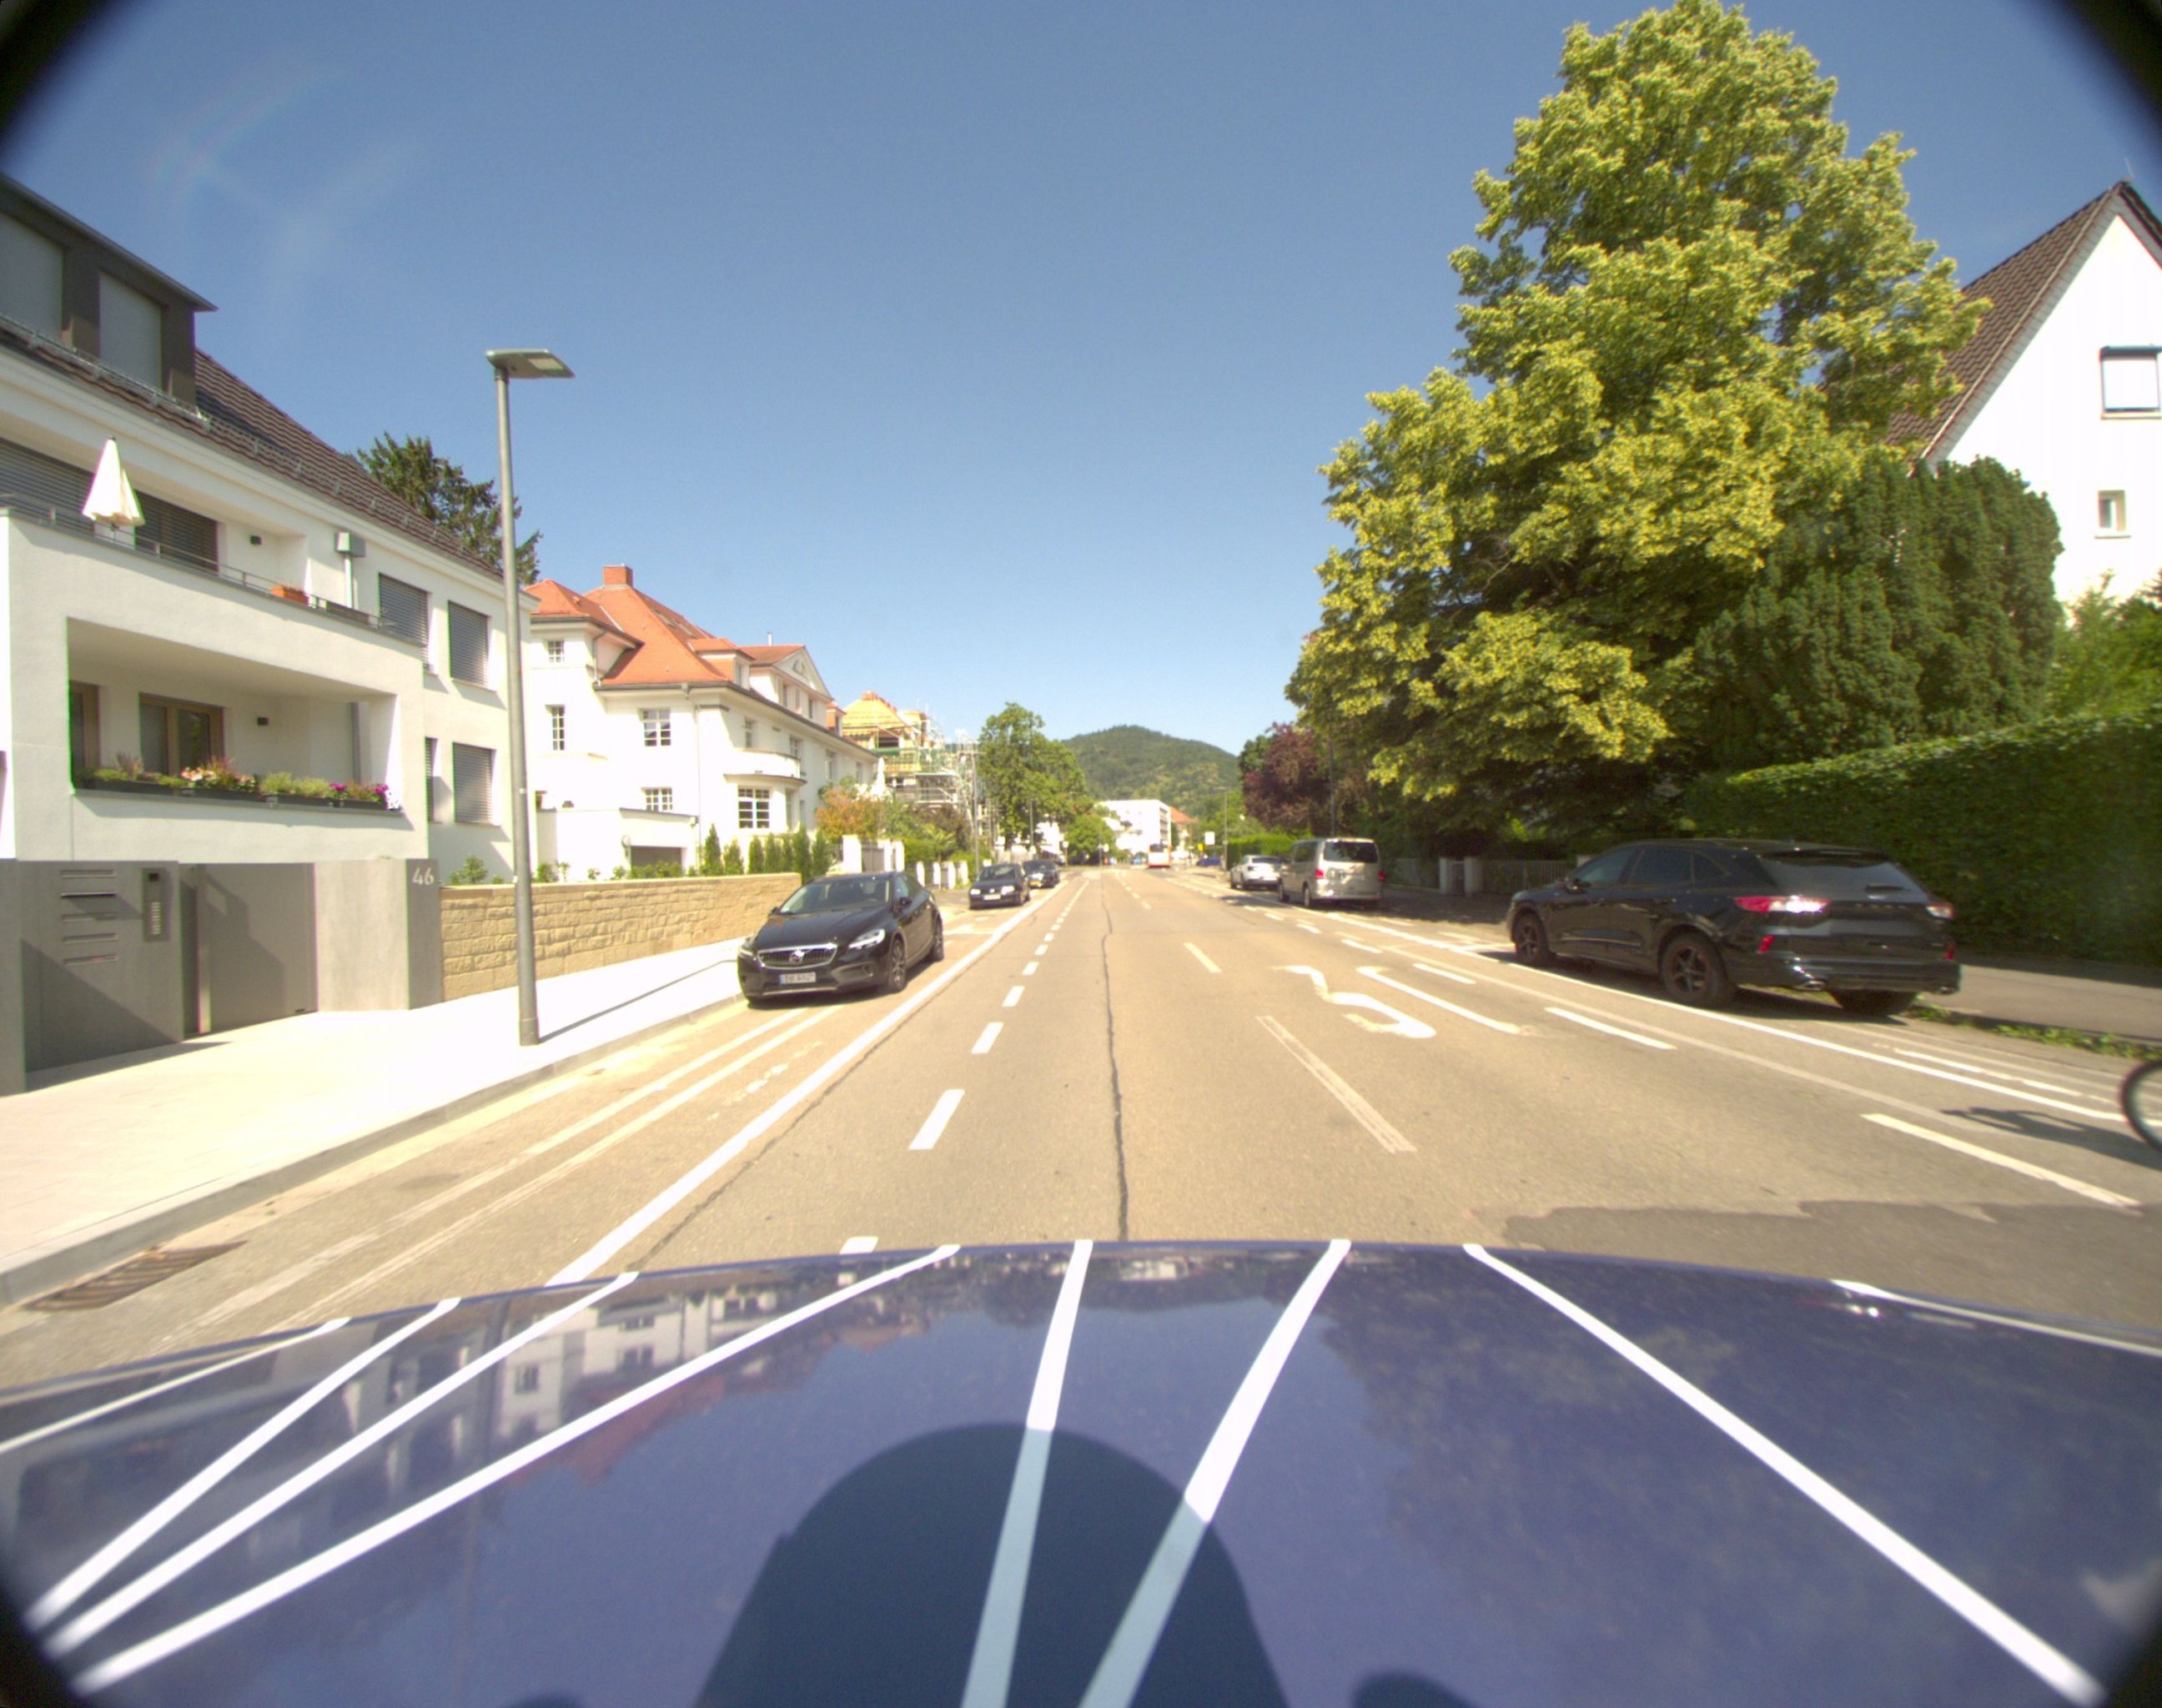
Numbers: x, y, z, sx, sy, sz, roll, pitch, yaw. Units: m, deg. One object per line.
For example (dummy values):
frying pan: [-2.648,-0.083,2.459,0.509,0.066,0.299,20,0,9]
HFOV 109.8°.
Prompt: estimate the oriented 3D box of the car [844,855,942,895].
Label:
car: [-8.985,0.984,36.556,4.173,1.573,1.701,-4,0,-1]

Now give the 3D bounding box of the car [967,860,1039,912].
car: [-2.608,1.049,26.310,1.623,1.440,4.001,-5,0,5]

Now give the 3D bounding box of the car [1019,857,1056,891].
car: [-2.250,0.988,40.271,1.701,1.573,4.900,-4,0,-1]

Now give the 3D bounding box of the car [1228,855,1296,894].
car: [7.476,0.795,31.812,1.837,1.477,4.562,2,0,2]

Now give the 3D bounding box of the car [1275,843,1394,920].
car: [7.071,0.726,21.759,1.889,1.908,4.869,1,0,2]

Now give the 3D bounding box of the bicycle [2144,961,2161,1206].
bicycle: [5.165,1.047,2.796,0.602,1.099,1.346,1,1,2]

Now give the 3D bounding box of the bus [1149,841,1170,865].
bus: [10.712,-0.138,104.389,2.751,3.156,9.782,0,0,5]

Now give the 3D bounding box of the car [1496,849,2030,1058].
car: [6.705,0.792,8.348,1.855,1.601,4.448,2,1,1]

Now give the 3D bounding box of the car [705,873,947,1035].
car: [-3.040,1.099,10.052,1.726,1.441,4.168,-4,0,-1]

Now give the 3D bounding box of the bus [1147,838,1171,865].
bus: [9.690,-0.282,94.685,2.751,3.156,9.782,0,0,5]

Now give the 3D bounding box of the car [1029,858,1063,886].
car: [-2.028,1.038,45.228,1.661,1.467,3.787,-4,0,1]
